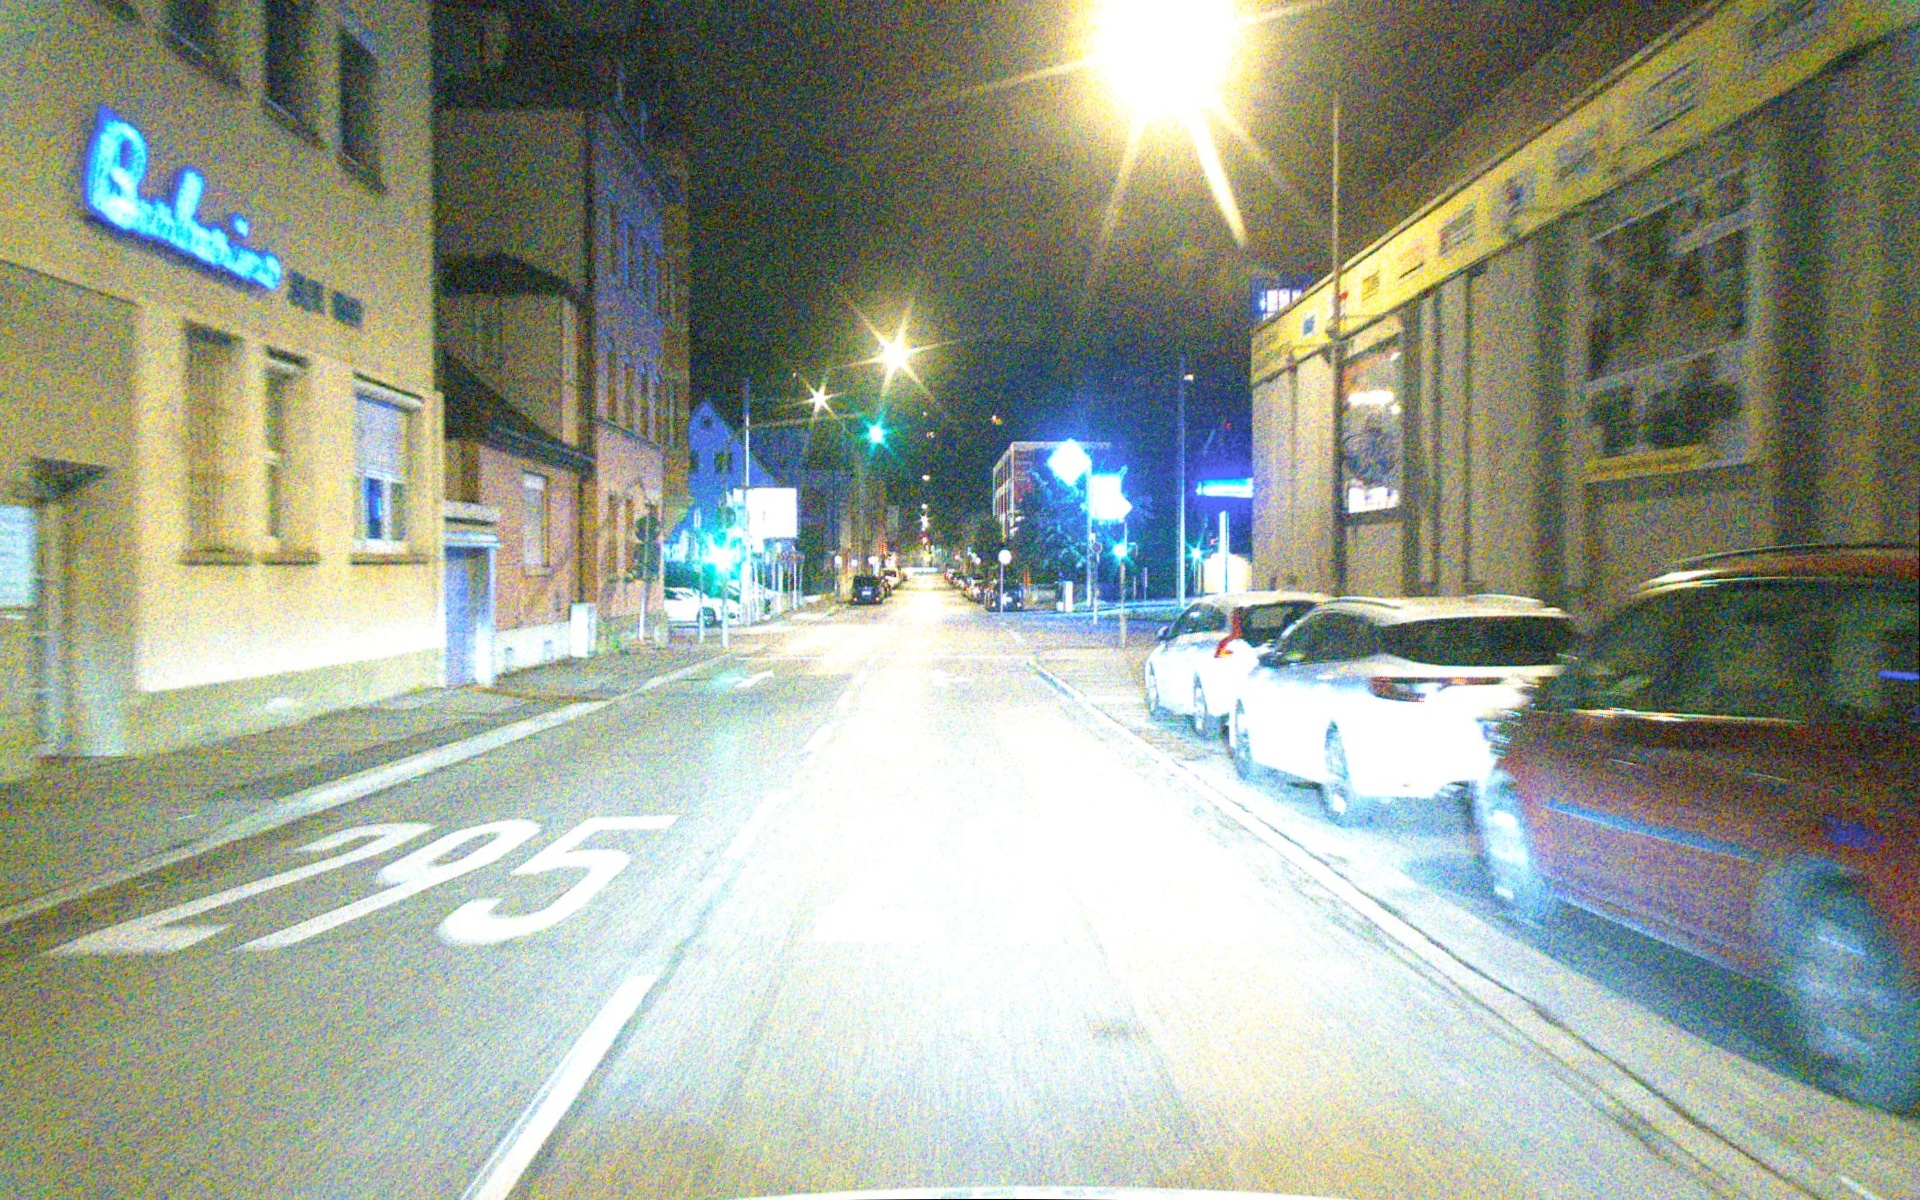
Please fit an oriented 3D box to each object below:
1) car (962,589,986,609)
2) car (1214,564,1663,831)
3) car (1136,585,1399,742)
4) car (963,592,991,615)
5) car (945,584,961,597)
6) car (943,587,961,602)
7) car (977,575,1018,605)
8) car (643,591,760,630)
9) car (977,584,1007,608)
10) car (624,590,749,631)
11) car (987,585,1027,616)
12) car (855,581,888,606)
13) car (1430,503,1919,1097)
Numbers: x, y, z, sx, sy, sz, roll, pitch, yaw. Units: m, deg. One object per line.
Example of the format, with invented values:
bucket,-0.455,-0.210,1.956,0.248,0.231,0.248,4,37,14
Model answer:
car,1.116,-0.082,134.786,1.952,1.546,4.000,0,0,0
car,3.192,0.591,12.078,1.739,1.571,4.543,0,0,-3
car,3.219,0.630,18.243,1.823,1.515,4.543,0,0,-3
car,1.199,0.263,117.853,1.952,1.546,4.000,0,0,0
car,-0.820,-1.188,205.363,1.952,1.546,4.000,0,0,0
car,-0.833,-0.583,182.344,1.952,1.546,4.000,0,0,0
car,2.045,-0.547,91.263,1.953,1.623,3.998,1,0,-2
car,-10.165,0.414,65.392,4.350,1.475,1.999,0,-1,-3
car,2.082,-0.282,110.221,1.952,1.546,4.000,0,0,0
car,-10.221,0.399,62.083,4.349,1.475,1.999,0,-1,-2
car,2.427,0.033,86.152,1.952,1.543,4.000,1,0,0
car,-5.573,-0.368,104.689,1.953,1.528,3.999,0,0,-1
car,3.455,0.528,6.382,1.787,1.651,4.455,-1,0,-3
